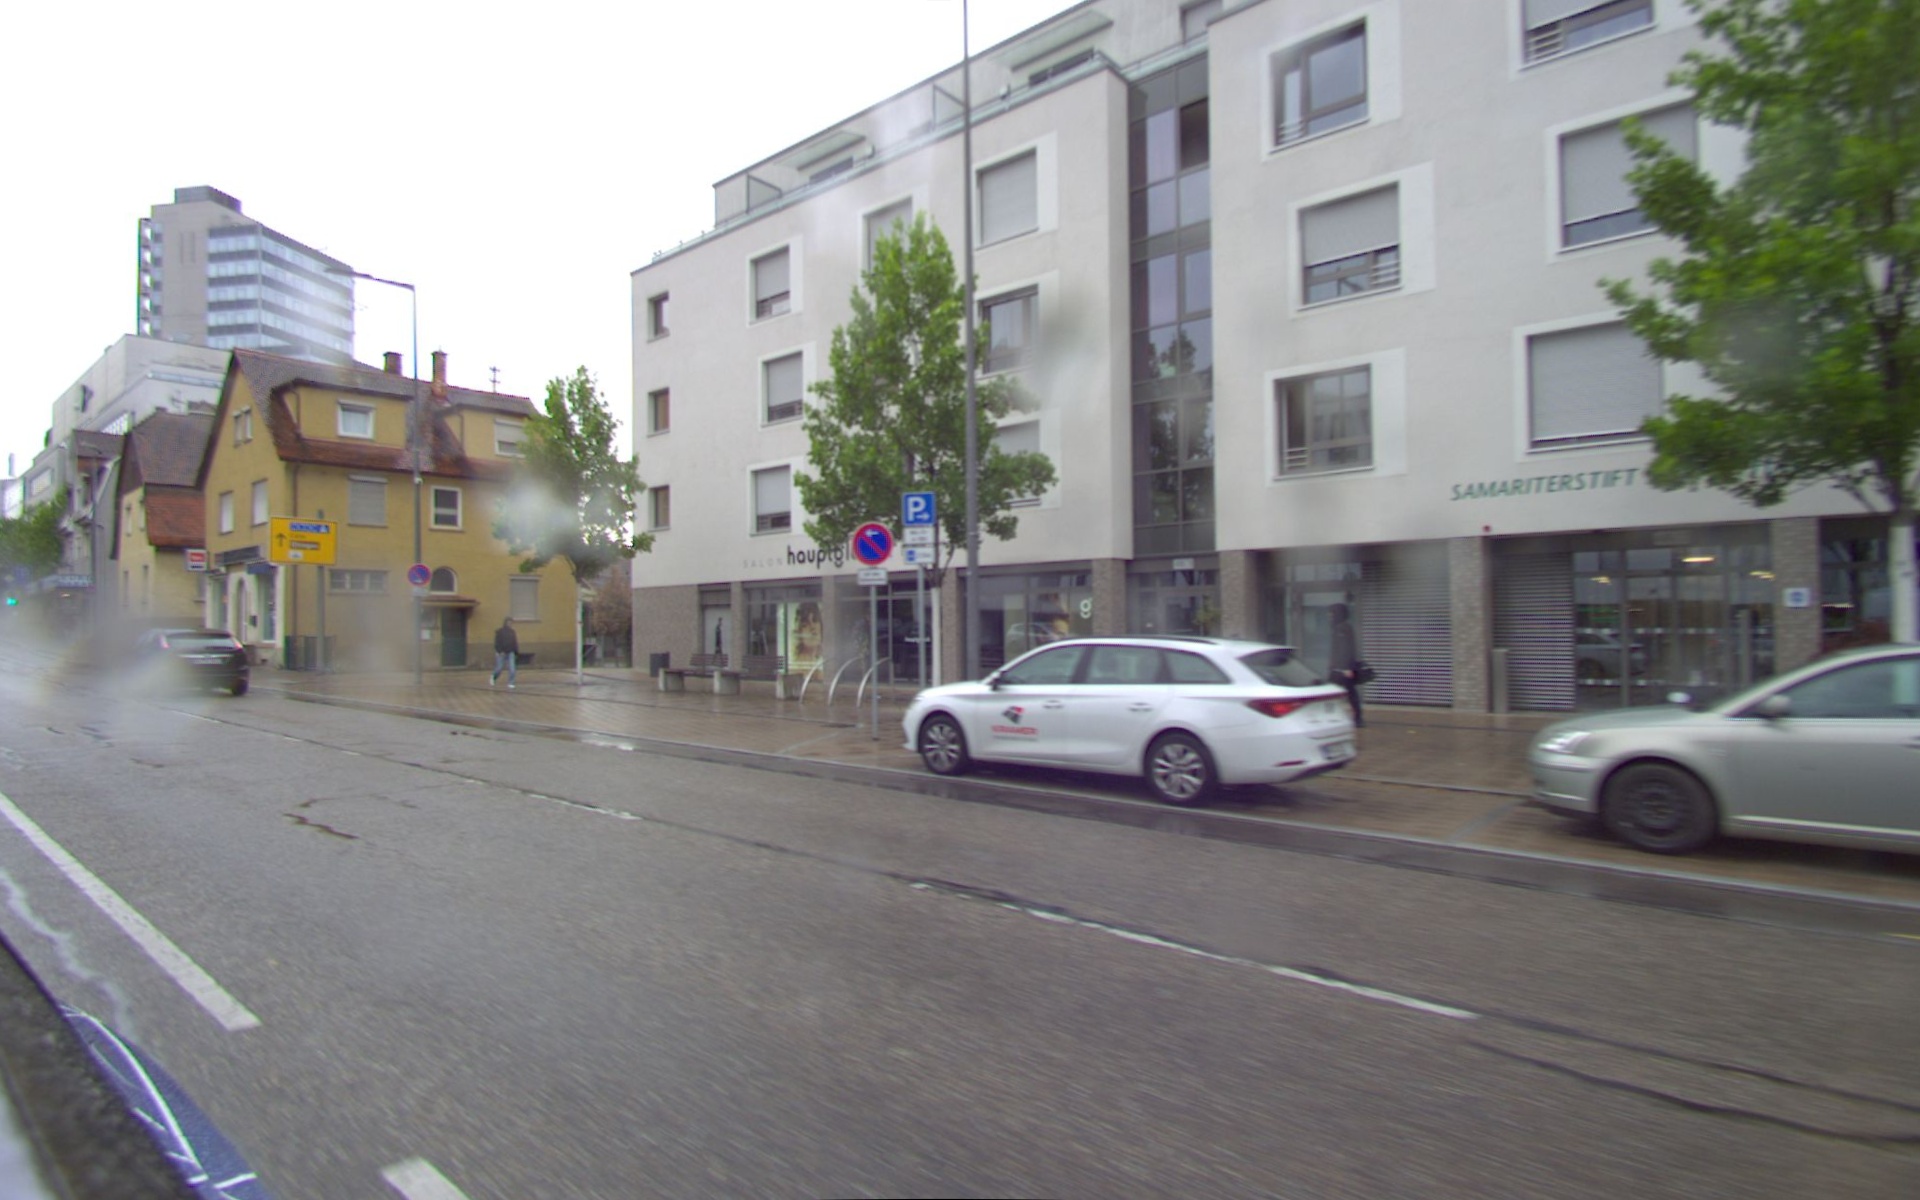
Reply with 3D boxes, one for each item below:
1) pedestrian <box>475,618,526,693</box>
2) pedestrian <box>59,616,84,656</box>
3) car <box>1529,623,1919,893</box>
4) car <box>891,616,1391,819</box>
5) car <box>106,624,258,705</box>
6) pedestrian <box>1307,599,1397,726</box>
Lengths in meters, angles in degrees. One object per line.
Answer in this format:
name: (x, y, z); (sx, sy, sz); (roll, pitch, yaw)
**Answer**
pedestrian: (-11.415, 1.358, 25.143); (0.881, 1.801, 0.793); (0, -2, 39)
pedestrian: (-44.003, 1.754, 50.120); (0.944, 1.935, 0.656); (0, 1, 33)
car: (6.322, 0.960, 6.309); (4.578, 1.521, 1.672); (0, -2, 44)
car: (1.573, 0.928, 9.791); (4.474, 1.474, 1.777); (0, -1, 39)
car: (-17.240, 1.343, 22.365); (4.182, 1.535, 1.861); (0, -1, 41)
pedestrian: (5.681, 0.877, 14.657); (1.002, 1.751, 0.800); (0, -2, 40)
